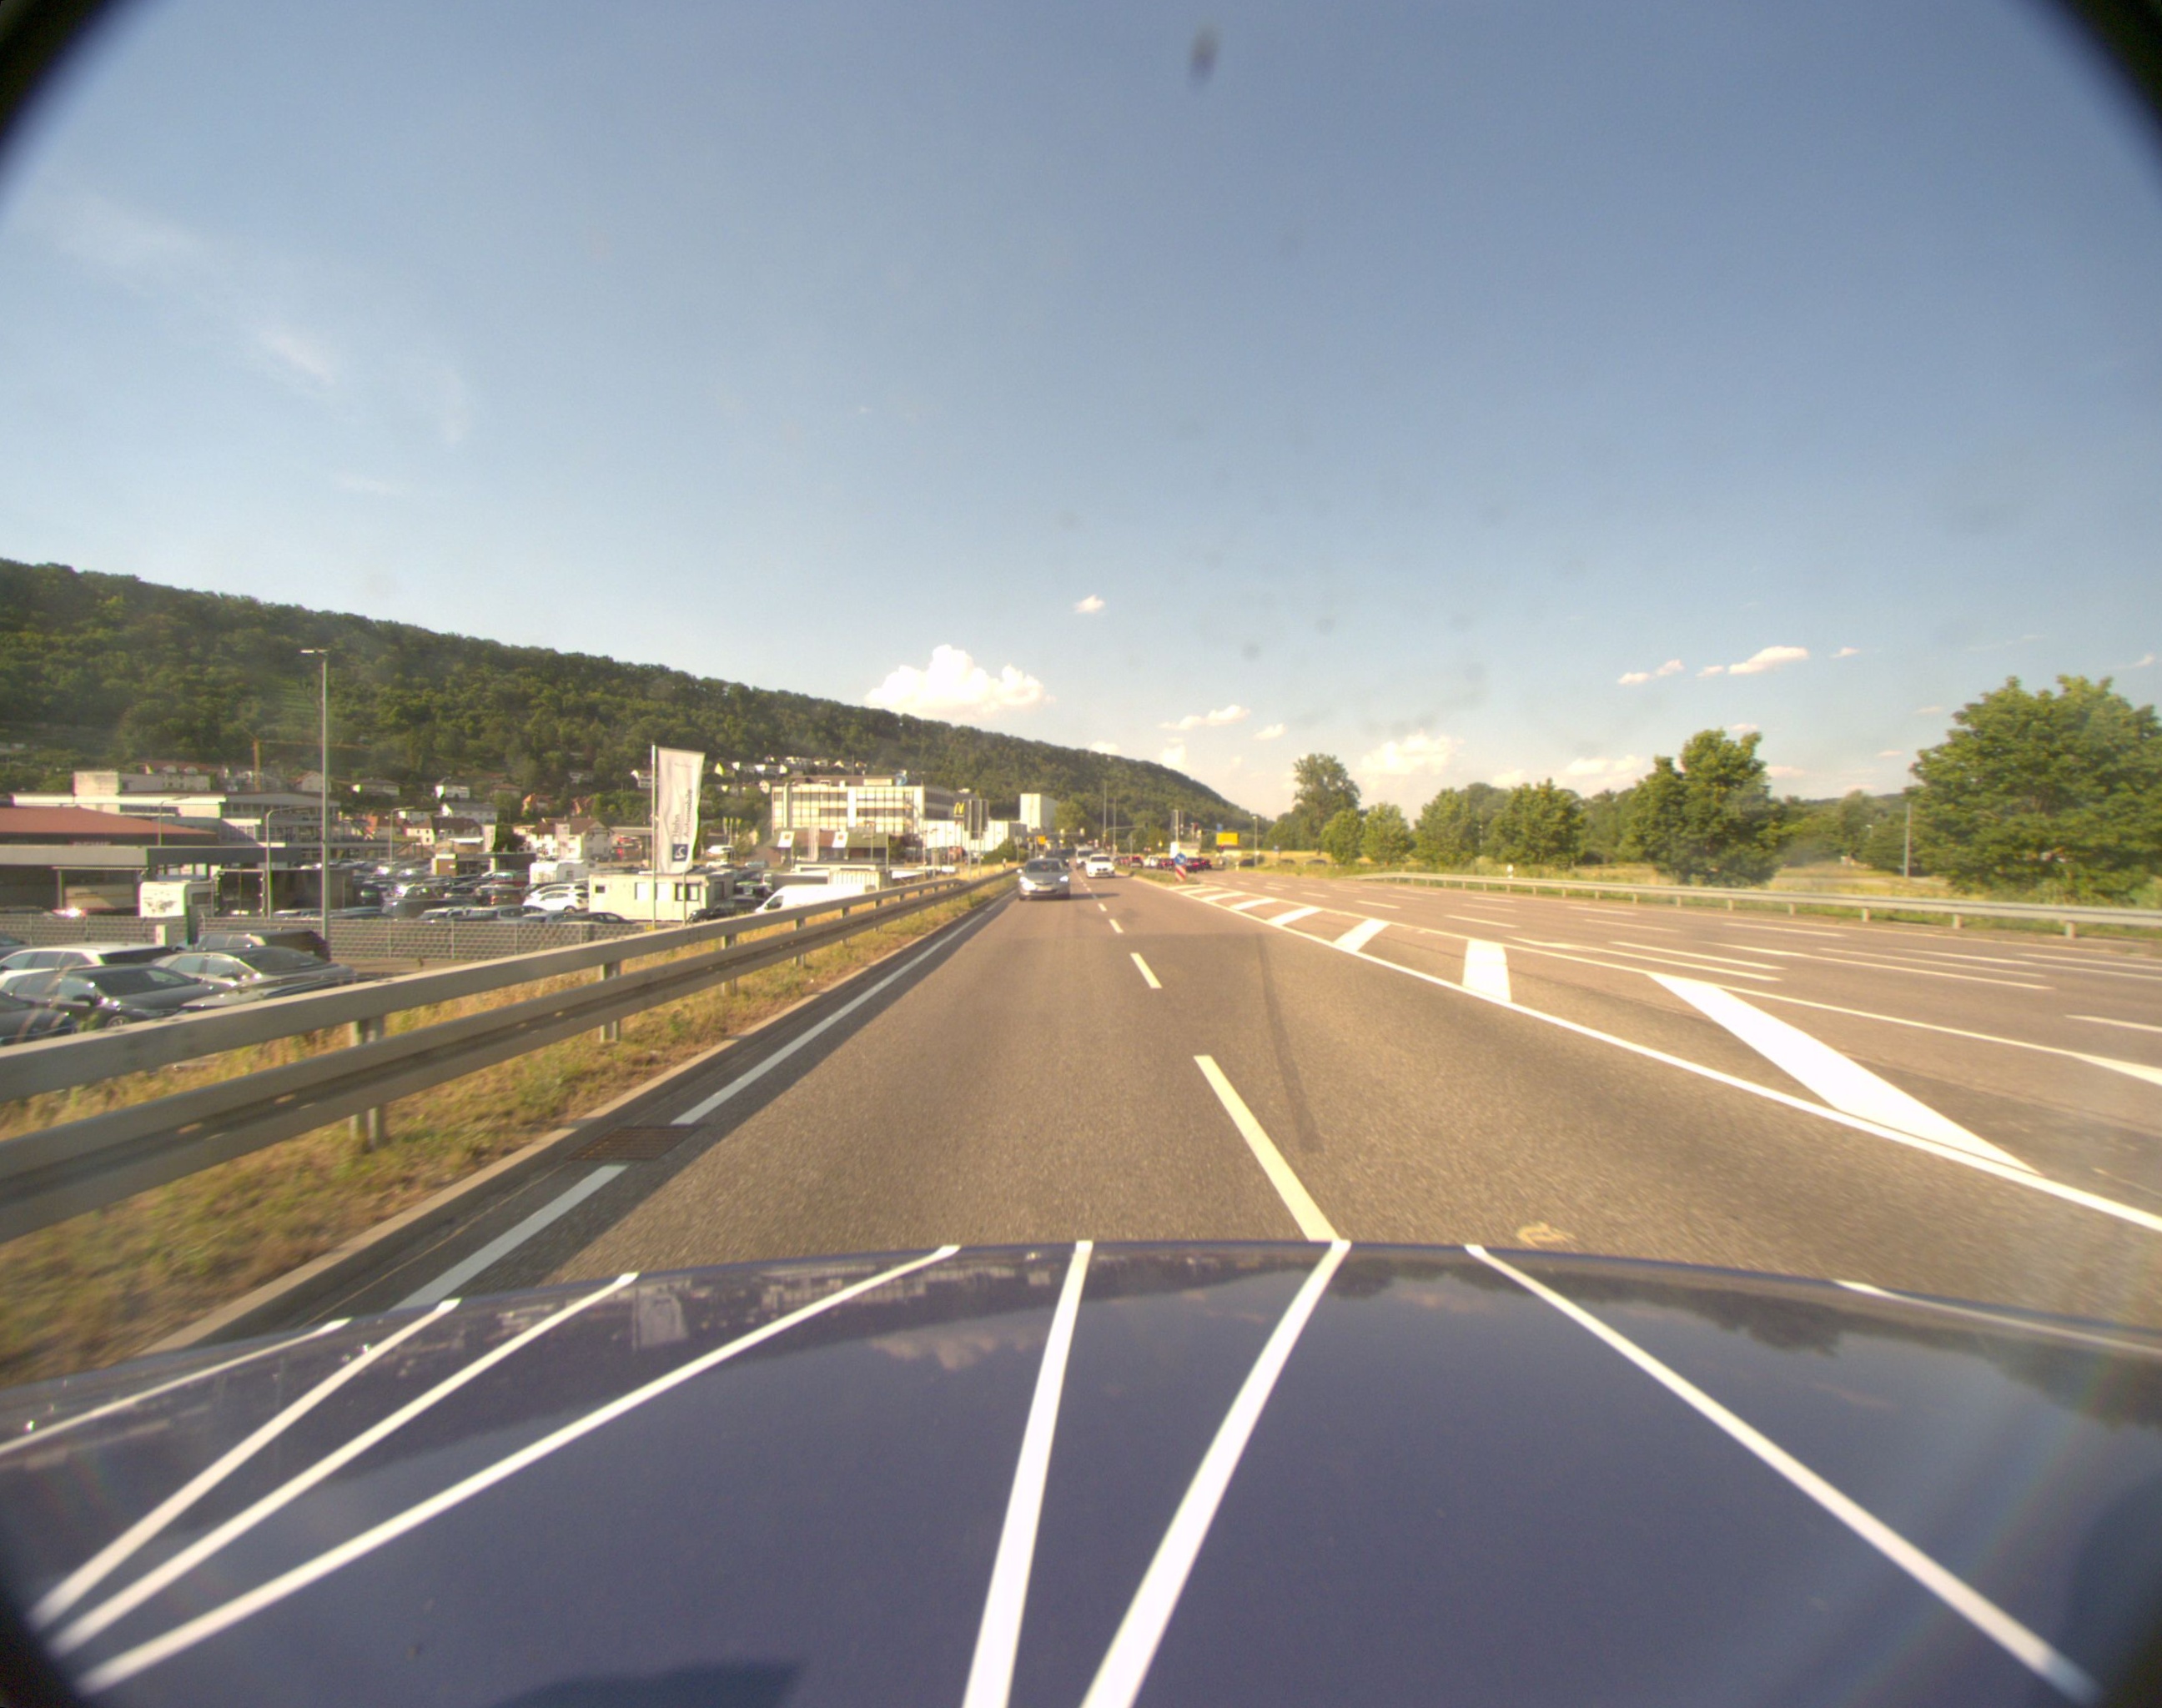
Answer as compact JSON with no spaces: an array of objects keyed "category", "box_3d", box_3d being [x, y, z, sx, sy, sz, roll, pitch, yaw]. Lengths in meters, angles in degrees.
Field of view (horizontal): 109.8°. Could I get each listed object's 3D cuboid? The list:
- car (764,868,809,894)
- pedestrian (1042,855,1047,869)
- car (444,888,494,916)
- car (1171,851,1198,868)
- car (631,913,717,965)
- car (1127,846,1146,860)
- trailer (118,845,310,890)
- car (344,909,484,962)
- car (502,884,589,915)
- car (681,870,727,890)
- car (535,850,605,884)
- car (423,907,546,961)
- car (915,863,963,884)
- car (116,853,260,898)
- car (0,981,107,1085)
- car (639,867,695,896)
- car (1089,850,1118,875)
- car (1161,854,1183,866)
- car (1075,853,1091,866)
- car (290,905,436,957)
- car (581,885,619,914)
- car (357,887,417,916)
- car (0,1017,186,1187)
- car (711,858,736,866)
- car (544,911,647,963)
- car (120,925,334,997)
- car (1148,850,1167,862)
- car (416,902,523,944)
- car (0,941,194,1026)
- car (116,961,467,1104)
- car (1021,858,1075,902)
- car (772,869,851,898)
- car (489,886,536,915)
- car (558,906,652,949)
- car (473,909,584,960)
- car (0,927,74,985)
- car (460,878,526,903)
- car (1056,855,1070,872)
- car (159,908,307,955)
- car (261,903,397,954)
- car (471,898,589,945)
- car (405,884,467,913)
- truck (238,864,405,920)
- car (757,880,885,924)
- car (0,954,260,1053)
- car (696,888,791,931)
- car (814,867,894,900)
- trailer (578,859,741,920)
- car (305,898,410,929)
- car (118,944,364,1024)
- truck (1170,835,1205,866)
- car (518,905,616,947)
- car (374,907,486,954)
[{"category":"car","box_3d":[-25.392,2.311,65.664,1.759,1.941,4.828,-1,1,3]},{"category":"pedestrian","box_3d":[-5.145,1.116,106.401,0.620,1.872,0.861,1,2,-1]},{"category":"car","box_3d":[-40.318,3.139,50.131,1.683,1.561,3.767,-2,1,-25]},{"category":"car","box_3d":[9.751,0.501,71.897,1.720,1.455,4.726,2,0,-1]},{"category":"car","box_3d":[-16.315,3.364,30.667,1.601,1.601,3.666,-2,1,-3]},{"category":"car","box_3d":[6.349,-0.166,86.841,1.785,1.511,3.999,2,1,-1]},{"category":"trailer","box_3d":[-43.016,0.584,38.032,1.998,2.011,6.285,-1,1,5]},{"category":"car","box_3d":[-26.926,3.239,30.896,1.600,1.585,4.243,-1,1,6]},{"category":"car","box_3d":[-31.966,2.703,45.430,3.996,1.648,1.805,1,1,4]},{"category":"car","box_3d":[-36.355,2.482,73.487,1.759,1.557,4.828,-1,1,3]},{"category":"car","box_3d":[-42.362,1.019,63.182,1.759,2.535,5.469,-1,1,4]},{"category":"car","box_3d":[-24.303,3.220,31.171,1.600,1.684,3.916,-1,1,7]},{"category":"car","box_3d":[-12.999,1.777,69.861,3.996,1.805,1.835,-1,1,2]},{"category":"car","box_3d":[-53.439,1.210,45.688,1.998,2.424,5.329,-1,1,5]},{"category":"car","box_3d":[-20.545,3.197,13.585,4.426,1.535,1.801,-1,1,8]},{"category":"car","box_3d":[-36.938,2.410,67.895,1.759,2.233,5.297,-1,1,4]},{"category":"car","box_3d":[1.496,0.554,51.591,1.825,1.551,3.999,-1,1,1]},{"category":"car","box_3d":[10.084,0.618,84.656,1.706,1.276,4.818,1,0,-1]},{"category":"car","box_3d":[0.232,0.614,84.252,1.690,1.383,3.883,0,1,1]},{"category":"car","box_3d":[-29.299,3.093,31.213,1.600,1.585,4.286,-1,1,6]},{"category":"car","box_3d":[-30.931,2.898,48.943,1.683,1.561,3.767,-2,1,-27]},{"category":"car","box_3d":[-46.542,3.149,51.029,1.771,1.674,3.665,-2,1,-23]},{"category":"car","box_3d":[-14.007,3.255,8.990,1.742,1.616,4.309,-1,1,-2]},{"category":"car","box_3d":[-62.685,1.390,133.251,3.649,1.412,1.690,-1,1,5]},{"category":"car","box_3d":[-19.675,3.325,30.994,1.600,1.601,3.668,-1,1,5]},{"category":"car","box_3d":[-24.084,2.973,21.494,4.426,1.704,1.801,0,1,8]},{"category":"car","box_3d":[9.556,0.262,95.167,1.706,1.397,5.079,1,1,-1]},{"category":"car","box_3d":[-28.817,3.200,35.964,1.600,1.555,3.892,-1,1,6]},{"category":"car","box_3d":[-24.621,3.089,18.457,4.426,1.704,1.801,-1,1,8]},{"category":"car","box_3d":[-14.253,3.129,14.204,1.799,1.534,4.432,-1,1,2]},{"category":"car","box_3d":[-1.110,0.865,27.265,1.690,1.383,3.883,0,1,1]},{"category":"car","box_3d":[-17.651,1.915,49.890,4.332,1.739,2.131,-1,-1,2]},{"category":"car","box_3d":[-37.109,3.028,49.699,1.683,1.561,3.767,-2,1,-25]},{"category":"car","box_3d":[-21.832,3.336,35.053,1.601,1.497,4.178,1,1,2]},{"category":"car","box_3d":[-22.439,3.217,31.040,1.600,1.601,3.668,-1,1,5]},{"category":"car","box_3d":[-33.979,3.133,23.266,4.426,1.535,1.801,-1,1,8]},{"category":"car","box_3d":[-44.625,2.752,57.741,1.802,1.607,3.444,-1,1,23]},{"category":"car","box_3d":[-2.509,1.270,105.573,1.795,2.155,4.588,0,1,-2]},{"category":"car","box_3d":[-36.489,3.282,32.845,1.798,1.534,3.892,-1,1,5]},{"category":"car","box_3d":[-31.518,3.070,32.018,1.600,1.691,3.892,-1,1,6]},{"category":"car","box_3d":[-25.971,3.148,36.048,1.970,1.691,4.498,-1,1,6]},{"category":"car","box_3d":[-42.908,2.921,50.633,1.770,1.674,3.667,-1,1,-17]},{"category":"truck","box_3d":[-37.514,1.782,37.875,1.998,2.357,5.970,-1,1,3]},{"category":"car","box_3d":[-13.461,2.481,39.511,5.895,2.002,2.000,-1,1,3]},{"category":"car","box_3d":[-20.276,3.070,15.920,4.433,1.627,1.886,-1,1,8]},{"category":"car","box_3d":[-18.399,2.988,41.663,4.576,2.002,1.897,-2,1,-20]},{"category":"car","box_3d":[-13.216,1.715,44.409,3.996,1.740,1.901,-1,1,2]},{"category":"trailer","box_3d":[-25.122,2.095,45.581,7.896,3.304,3.359,-1,1,5]},{"category":"car","box_3d":[-40.034,3.284,42.109,4.340,1.535,1.801,-1,1,7]},{"category":"car","box_3d":[-19.911,3.054,18.116,3.982,1.535,1.787,-1,1,4]},{"category":"truck","box_3d":[13.502,-0.486,97.140,2.940,3.669,10.497,2,1,0]},{"category":"car","box_3d":[-23.880,3.306,35.466,1.600,1.503,3.867,-1,1,6]},{"category":"car","box_3d":[-31.182,3.620,36.586,1.600,1.791,4.020,-1,1,6]}]
